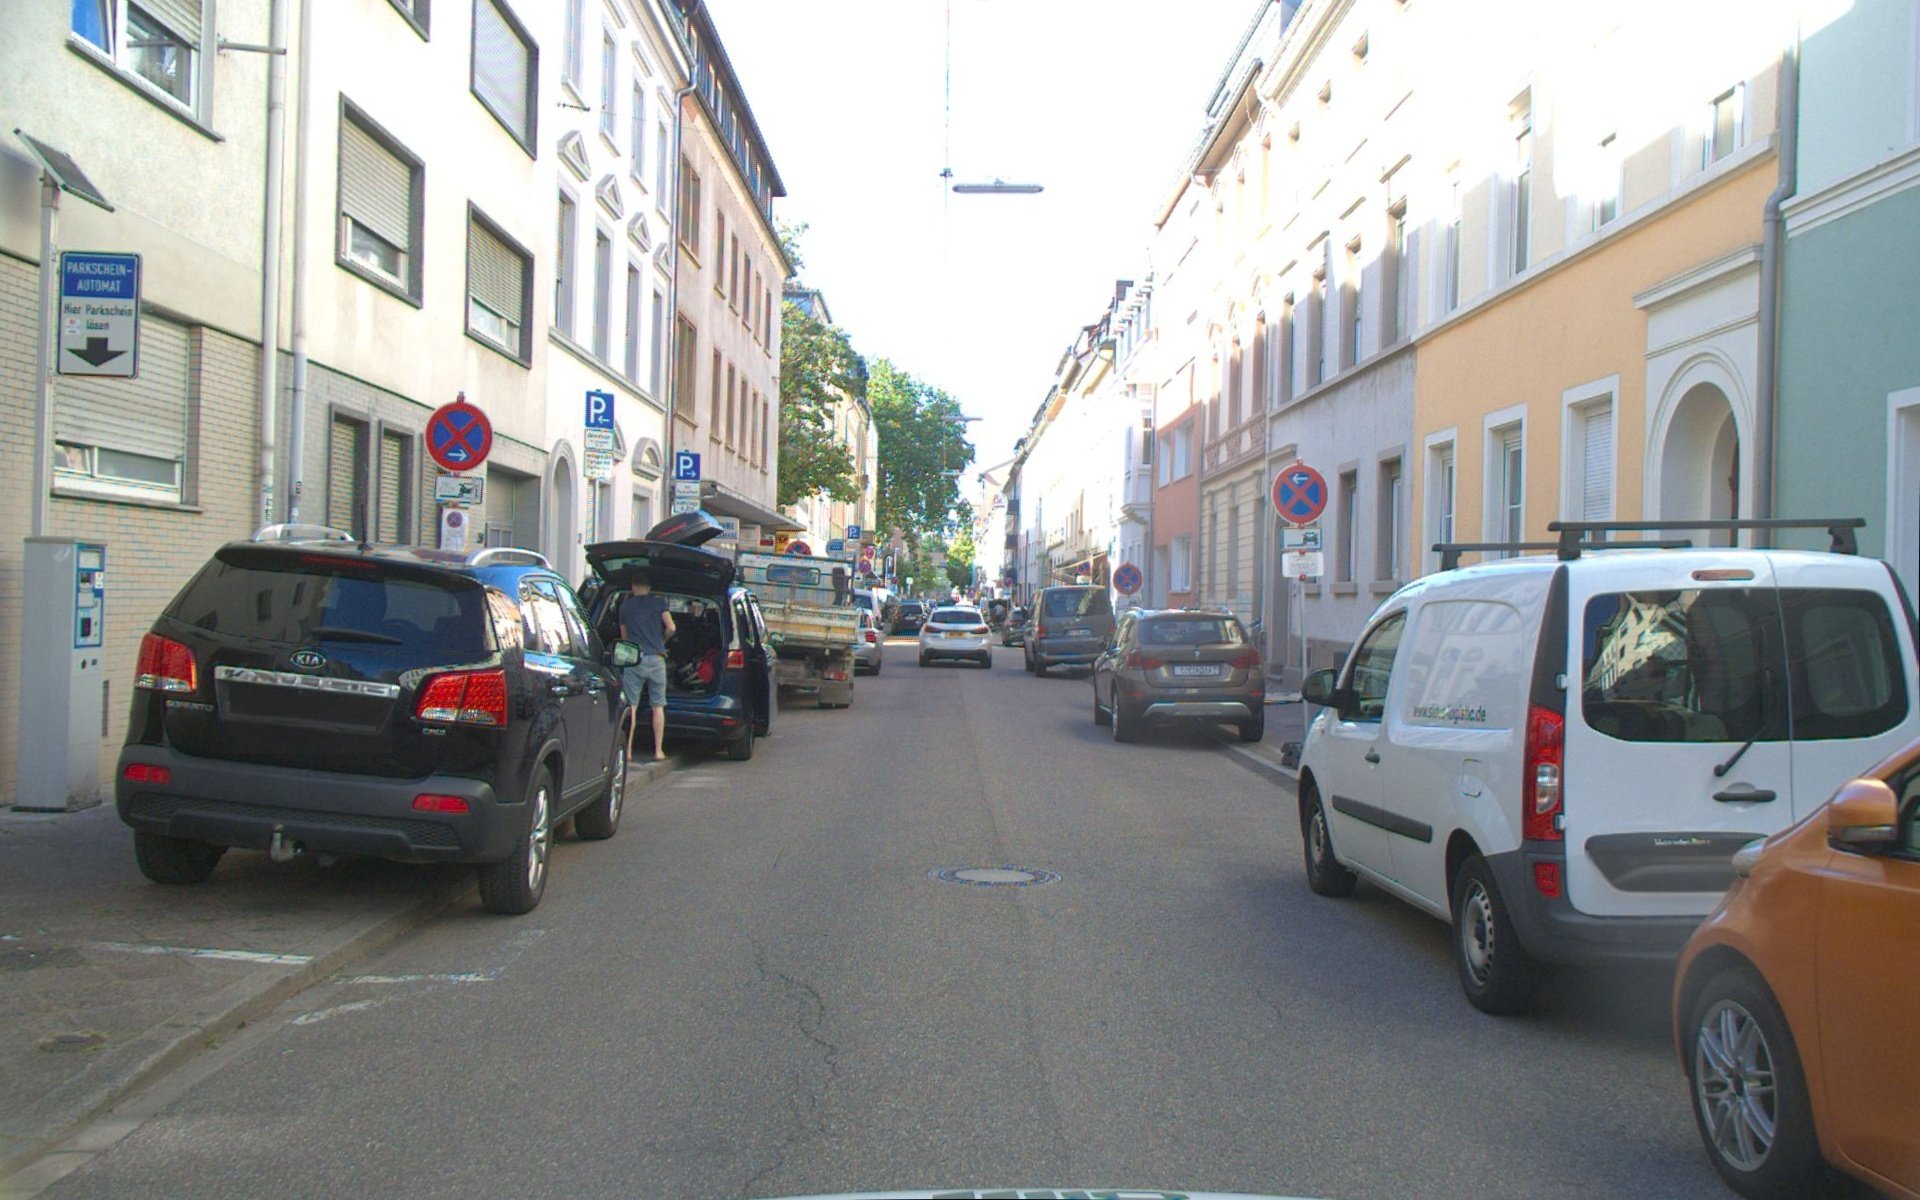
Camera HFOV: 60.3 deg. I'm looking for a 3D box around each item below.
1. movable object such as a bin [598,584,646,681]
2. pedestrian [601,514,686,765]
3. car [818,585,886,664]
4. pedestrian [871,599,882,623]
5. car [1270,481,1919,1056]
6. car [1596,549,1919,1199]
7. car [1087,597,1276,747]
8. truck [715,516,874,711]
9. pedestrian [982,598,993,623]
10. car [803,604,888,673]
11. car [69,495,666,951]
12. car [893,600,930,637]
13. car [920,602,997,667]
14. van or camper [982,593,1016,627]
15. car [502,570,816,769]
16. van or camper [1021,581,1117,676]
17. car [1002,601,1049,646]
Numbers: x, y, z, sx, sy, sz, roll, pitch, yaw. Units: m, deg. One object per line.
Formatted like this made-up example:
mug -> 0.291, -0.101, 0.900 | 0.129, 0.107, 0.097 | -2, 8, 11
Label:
movable object such as a bin -> -5.520, 0.529, 27.057 | 0.626, 1.559, 0.587 | 1, 0, 0
pedestrian -> -2.918, 0.363, 15.319 | 0.606, 2.268, 0.688 | 1, -2, -1
car -> -2.744, 0.601, 42.538 | 1.614, 1.900, 3.997 | 2, 0, -3
pedestrian -> -5.481, 0.724, 108.448 | 0.614, 1.490, 0.575 | 1, -2, -1
car -> 2.860, 0.617, 8.022 | 1.746, 1.996, 4.334 | 2, 0, -2
car -> 2.953, 0.757, 3.531 | 1.549, 1.660, 3.679 | 3, 0, -3
car -> 2.651, 0.800, 20.734 | 1.704, 1.604, 4.377 | 2, 0, -1
truck -> -2.532, 0.249, 25.756 | 2.115, 2.636, 6.242 | 1, -1, -5
pedestrian -> 1.694, 0.643, 102.109 | 0.614, 1.490, 0.575 | 1, -2, -1
car -> -2.499, 0.811, 36.897 | 1.722, 1.440, 3.998 | 0, 0, -2
car -> -2.891, 0.503, 9.246 | 1.843, 1.785, 4.539 | 5, 0, -4
car -> -2.280, 0.847, 78.183 | 1.591, 1.625, 3.580 | 2, 0, 0
car -> -0.023, 0.830, 41.570 | 1.796, 1.512, 4.057 | 1, 0, 0
van or camper -> 2.366, 0.622, 100.930 | 1.953, 1.959, 3.999 | 1, -1, 0
car -> -2.983, 0.640, 17.771 | 2.391, 1.735, 5.241 | 2, 0, -1
van or camper -> 2.468, 0.640, 38.537 | 1.739, 2.072, 4.567 | 0, 0, -3
car -> 2.460, 0.867, 63.095 | 1.613, 1.604, 3.678 | 2, 0, 0
